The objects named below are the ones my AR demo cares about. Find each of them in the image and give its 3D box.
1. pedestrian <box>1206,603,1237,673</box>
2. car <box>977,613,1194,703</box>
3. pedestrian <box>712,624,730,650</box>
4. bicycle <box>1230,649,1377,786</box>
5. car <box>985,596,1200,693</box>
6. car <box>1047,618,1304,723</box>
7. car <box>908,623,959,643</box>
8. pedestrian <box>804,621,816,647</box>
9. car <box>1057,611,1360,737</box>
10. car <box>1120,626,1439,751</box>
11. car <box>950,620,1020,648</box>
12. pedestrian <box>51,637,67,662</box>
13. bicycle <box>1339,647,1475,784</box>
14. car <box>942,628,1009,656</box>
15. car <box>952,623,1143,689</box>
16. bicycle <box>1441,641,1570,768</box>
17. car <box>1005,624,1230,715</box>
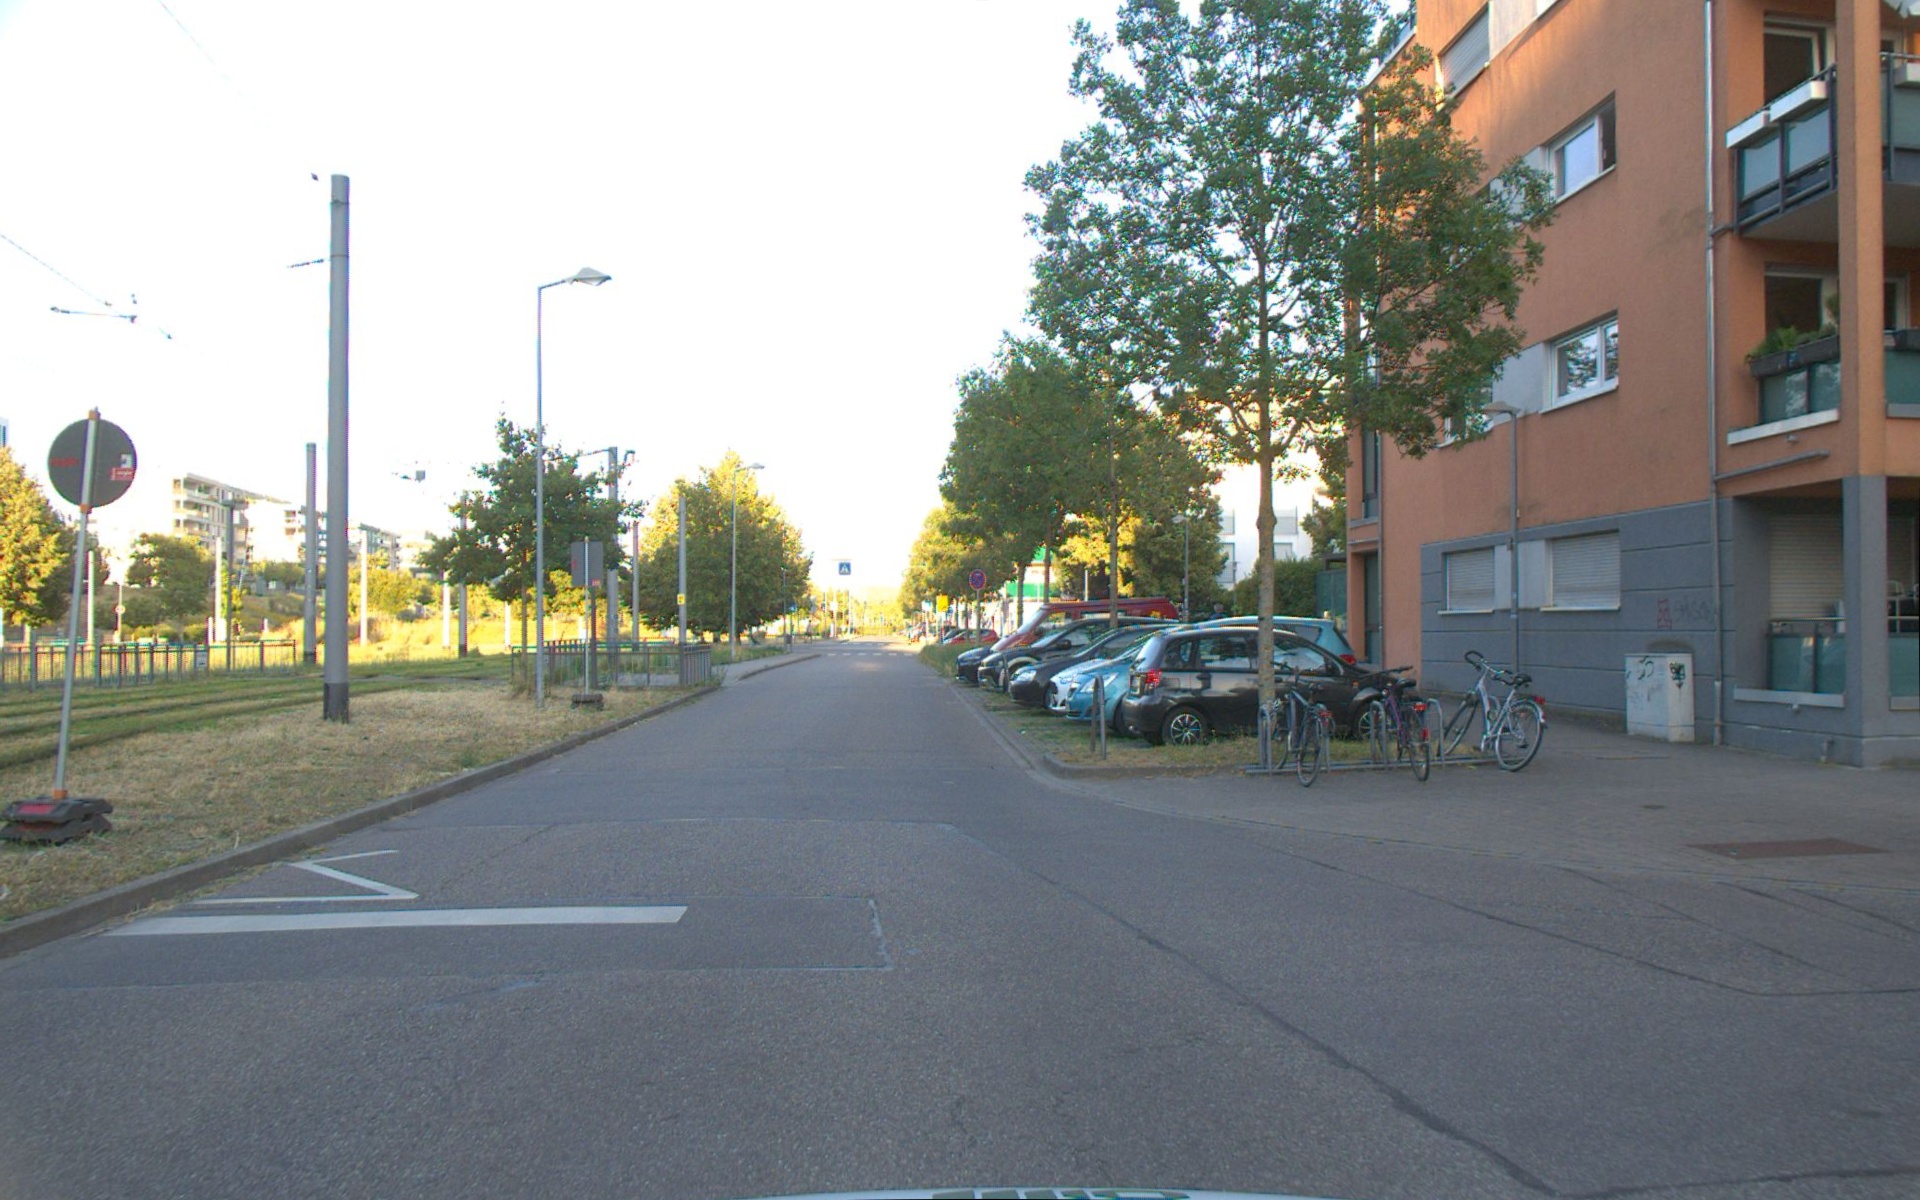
[{"bbox_3d":[6.760,0.976,42.735,0.655,1.774,0.699,0,-1,-3],"label":"pedestrian"},{"bbox_3d":[2.484,1.151,33.331,4.131,1.596,1.791,-2,-1,-3],"label":"car"},{"bbox_3d":[-15.975,2.450,110.560,1.004,1.723,0.755,1,-1,-21],"label":"pedestrian"},{"bbox_3d":[3.400,1.134,16.559,0.704,1.172,1.892,-2,1,-13],"label":"bicycle"},{"bbox_3d":[3.024,1.022,38.617,4.820,2.154,2.016,0,-1,-2],"label":"car"},{"bbox_3d":[3.342,1.085,26.101,3.799,1.596,1.619,0,-1,-3],"label":"car"},{"bbox_3d":[-2.298,2.836,142.452,4.394,1.624,1.999,0,-1,-2],"label":"car"},{"bbox_3d":[-11.881,2.680,130.935,0.829,2.049,0.944,0,-1,3],"label":"pedestrian"},{"bbox_3d":[3.450,1.012,23.418,3.969,1.596,1.672,-2,-1,-3],"label":"car"},{"bbox_3d":[4.000,1.086,21.019,3.678,1.499,1.610,0,-1,-8],"label":"car"},{"bbox_3d":[1.368,1.880,92.200,3.728,1.535,1.677,0,-1,-5],"label":"car"},{"bbox_3d":[-66.475,3.665,122.030,0.771,1.817,0.813,0,-1,0],"label":"pedestrian"},{"bbox_3d":[4.420,1.110,16.491,0.665,1.172,1.926,-2,1,-5],"label":"bicycle"},{"bbox_3d":[0.890,2.405,94.883,3.728,1.535,1.677,0,-1,-5],"label":"car"},{"bbox_3d":[2.131,1.370,41.101,4.576,1.584,1.810,0,-1,-3],"label":"car"},{"bbox_3d":[5.572,1.040,17.018,0.518,1.146,1.961,1,1,-5],"label":"bicycle"},{"bbox_3d":[2.680,1.208,28.699,3.698,1.522,1.538,0,-3,-3],"label":"car"}]
